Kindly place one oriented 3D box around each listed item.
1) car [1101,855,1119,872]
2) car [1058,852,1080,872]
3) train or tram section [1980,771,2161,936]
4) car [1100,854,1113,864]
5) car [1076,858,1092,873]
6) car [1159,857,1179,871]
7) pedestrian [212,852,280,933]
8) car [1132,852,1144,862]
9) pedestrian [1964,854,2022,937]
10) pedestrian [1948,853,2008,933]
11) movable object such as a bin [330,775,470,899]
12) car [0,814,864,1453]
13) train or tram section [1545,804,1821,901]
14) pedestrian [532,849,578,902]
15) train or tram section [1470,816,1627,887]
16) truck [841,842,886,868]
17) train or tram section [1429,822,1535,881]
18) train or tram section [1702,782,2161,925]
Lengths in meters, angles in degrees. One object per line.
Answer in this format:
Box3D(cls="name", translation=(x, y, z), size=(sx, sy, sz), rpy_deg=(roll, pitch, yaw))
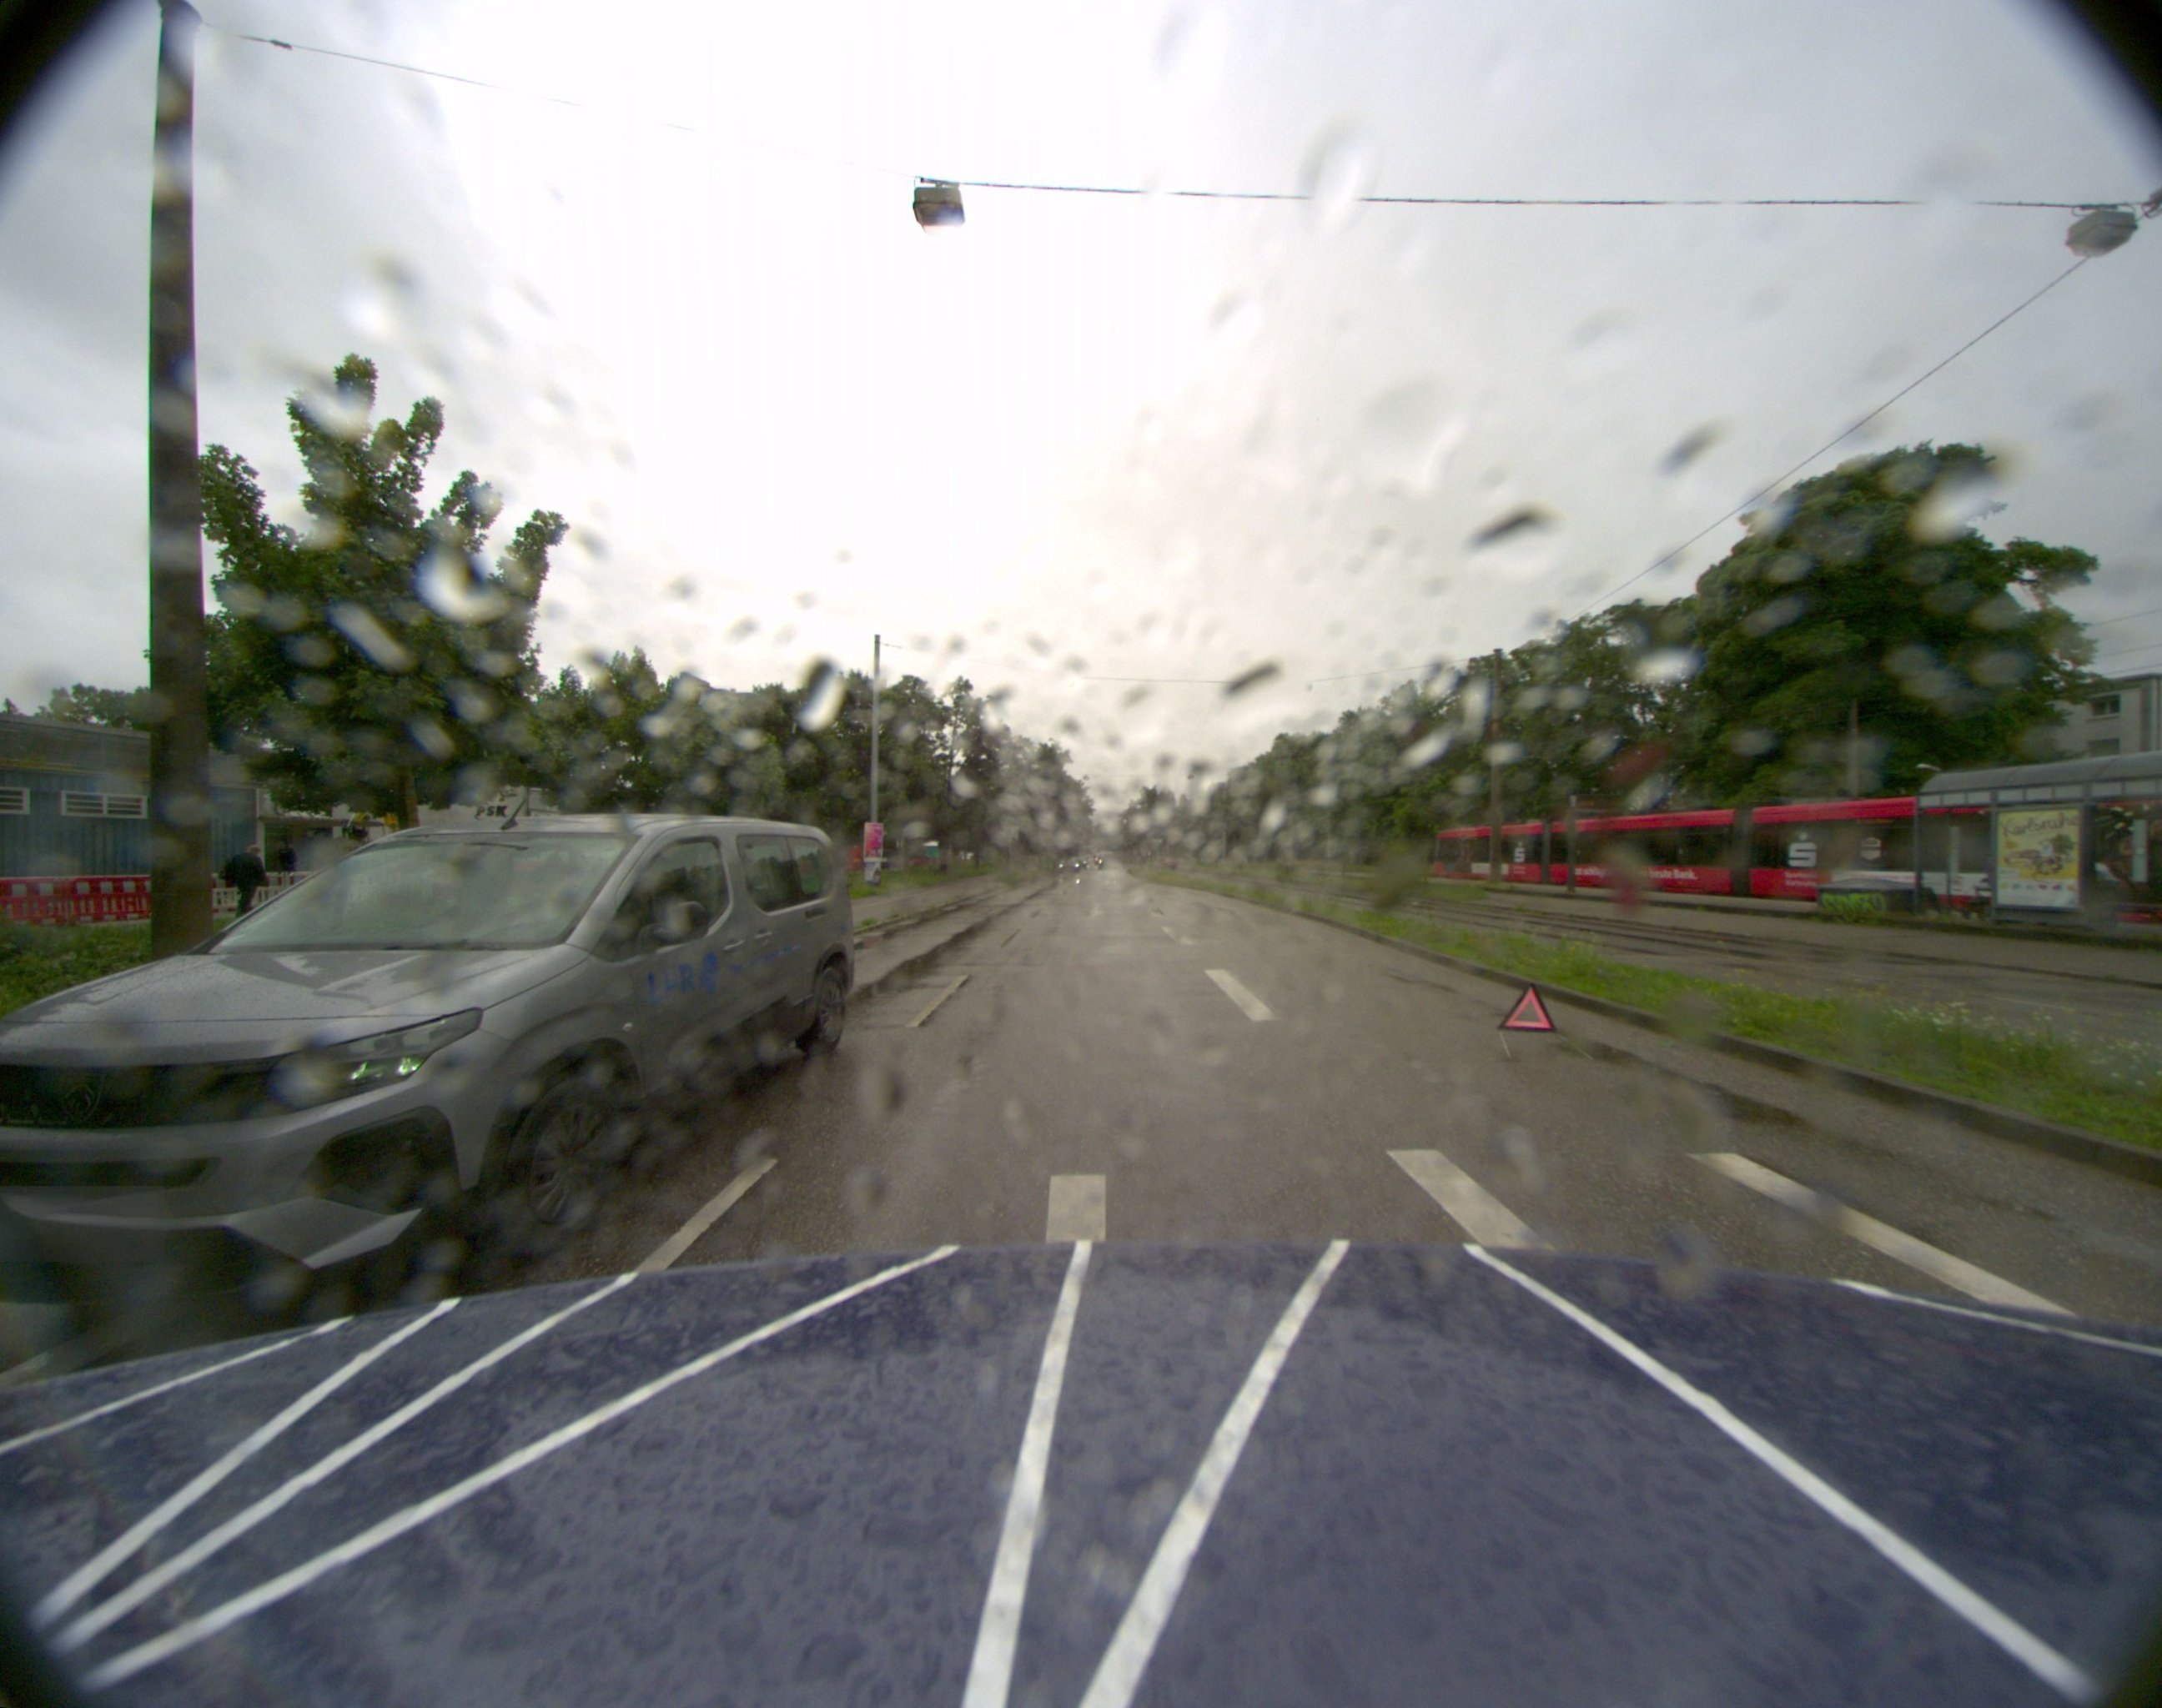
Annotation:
Box3D(cls="car", translation=(3.212, 1.033, 83.842), size=(1.812, 1.683, 3.776), rpy_deg=(-2, 1, 1))
Box3D(cls="car", translation=(-1.018, 0.707, 67.423), size=(1.858, 1.583, 3.999), rpy_deg=(-2, 1, 0))
Box3D(cls="train or tram section", translation=(23.814, -0.004, 14.023), size=(3.541, 3.370, 9.278), rpy_deg=(0, 0, 1))
Box3D(cls="car", translation=(4.157, 0.811, 124.763), size=(1.898, 1.602, 4.000), rpy_deg=(-2, 1, 1))
Box3D(cls="car", translation=(0.288, 1.303, 87.910), size=(1.652, 1.652, 3.776), rpy_deg=(-2, 1, -2))
Box3D(cls="car", translation=(9.878, 1.094, 85.270), size=(1.685, 1.353, 4.251), rpy_deg=(2, 0, -1))
Box3D(cls="pedestrian", translation=(-20.193, 0.903, 18.390), size=(0.580, 1.885, 0.876), rpy_deg=(-2, 1, 0))
Box3D(cls="car", translation=(9.193, 0.495, 122.214), size=(1.741, 1.429, 3.820), rpy_deg=(-1, 1, 1))
Box3D(cls="pedestrian", translation=(17.544, 0.793, 14.621), size=(0.444, 1.553, 0.602), rpy_deg=(-1, 1, 15))
Box3D(cls="pedestrian", translation=(17.934, 0.770, 15.196), size=(0.522, 1.553, 0.602), rpy_deg=(-1, 1, 15))
Box3D(cls="movable object such as a bin", translation=(-26.022, -0.631, 29.225), size=(1.557, 4.401, 3.909), rpy_deg=(-2, 1, 2))
Box3D(cls="car", translation=(-2.956, 0.784, 4.419), size=(1.998, 1.785, 4.561), rpy_deg=(-1, 1, 0))
Box3D(cls="train or tram section", translation=(24.185, -0.091, 31.714), size=(3.541, 3.381, 10.261), rpy_deg=(0, 0, 1))
Box3D(cls="pedestrian", translation=(-19.990, 0.793, 28.880), size=(0.814, 1.925, 1.212), rpy_deg=(-2, 1, 0))
Box3D(cls="train or tram section", translation=(24.369, -0.138, 40.242), size=(3.541, 3.392, 7.902), rpy_deg=(0, 0, 1))
Box3D(cls="truck", translation=(-26.085, 0.054, 91.516), size=(2.811, 2.882, 8.748), rpy_deg=(-2, 1, 0))
Box3D(cls="train or tram section", translation=(24.532, -0.155, 46.860), size=(3.541, 3.398, 5.769), rpy_deg=(0, 0, 1))
Box3D(cls="train or tram section", translation=(23.998, -0.038, 22.610), size=(3.541, 3.370, 9.278), rpy_deg=(0, 0, 1))
